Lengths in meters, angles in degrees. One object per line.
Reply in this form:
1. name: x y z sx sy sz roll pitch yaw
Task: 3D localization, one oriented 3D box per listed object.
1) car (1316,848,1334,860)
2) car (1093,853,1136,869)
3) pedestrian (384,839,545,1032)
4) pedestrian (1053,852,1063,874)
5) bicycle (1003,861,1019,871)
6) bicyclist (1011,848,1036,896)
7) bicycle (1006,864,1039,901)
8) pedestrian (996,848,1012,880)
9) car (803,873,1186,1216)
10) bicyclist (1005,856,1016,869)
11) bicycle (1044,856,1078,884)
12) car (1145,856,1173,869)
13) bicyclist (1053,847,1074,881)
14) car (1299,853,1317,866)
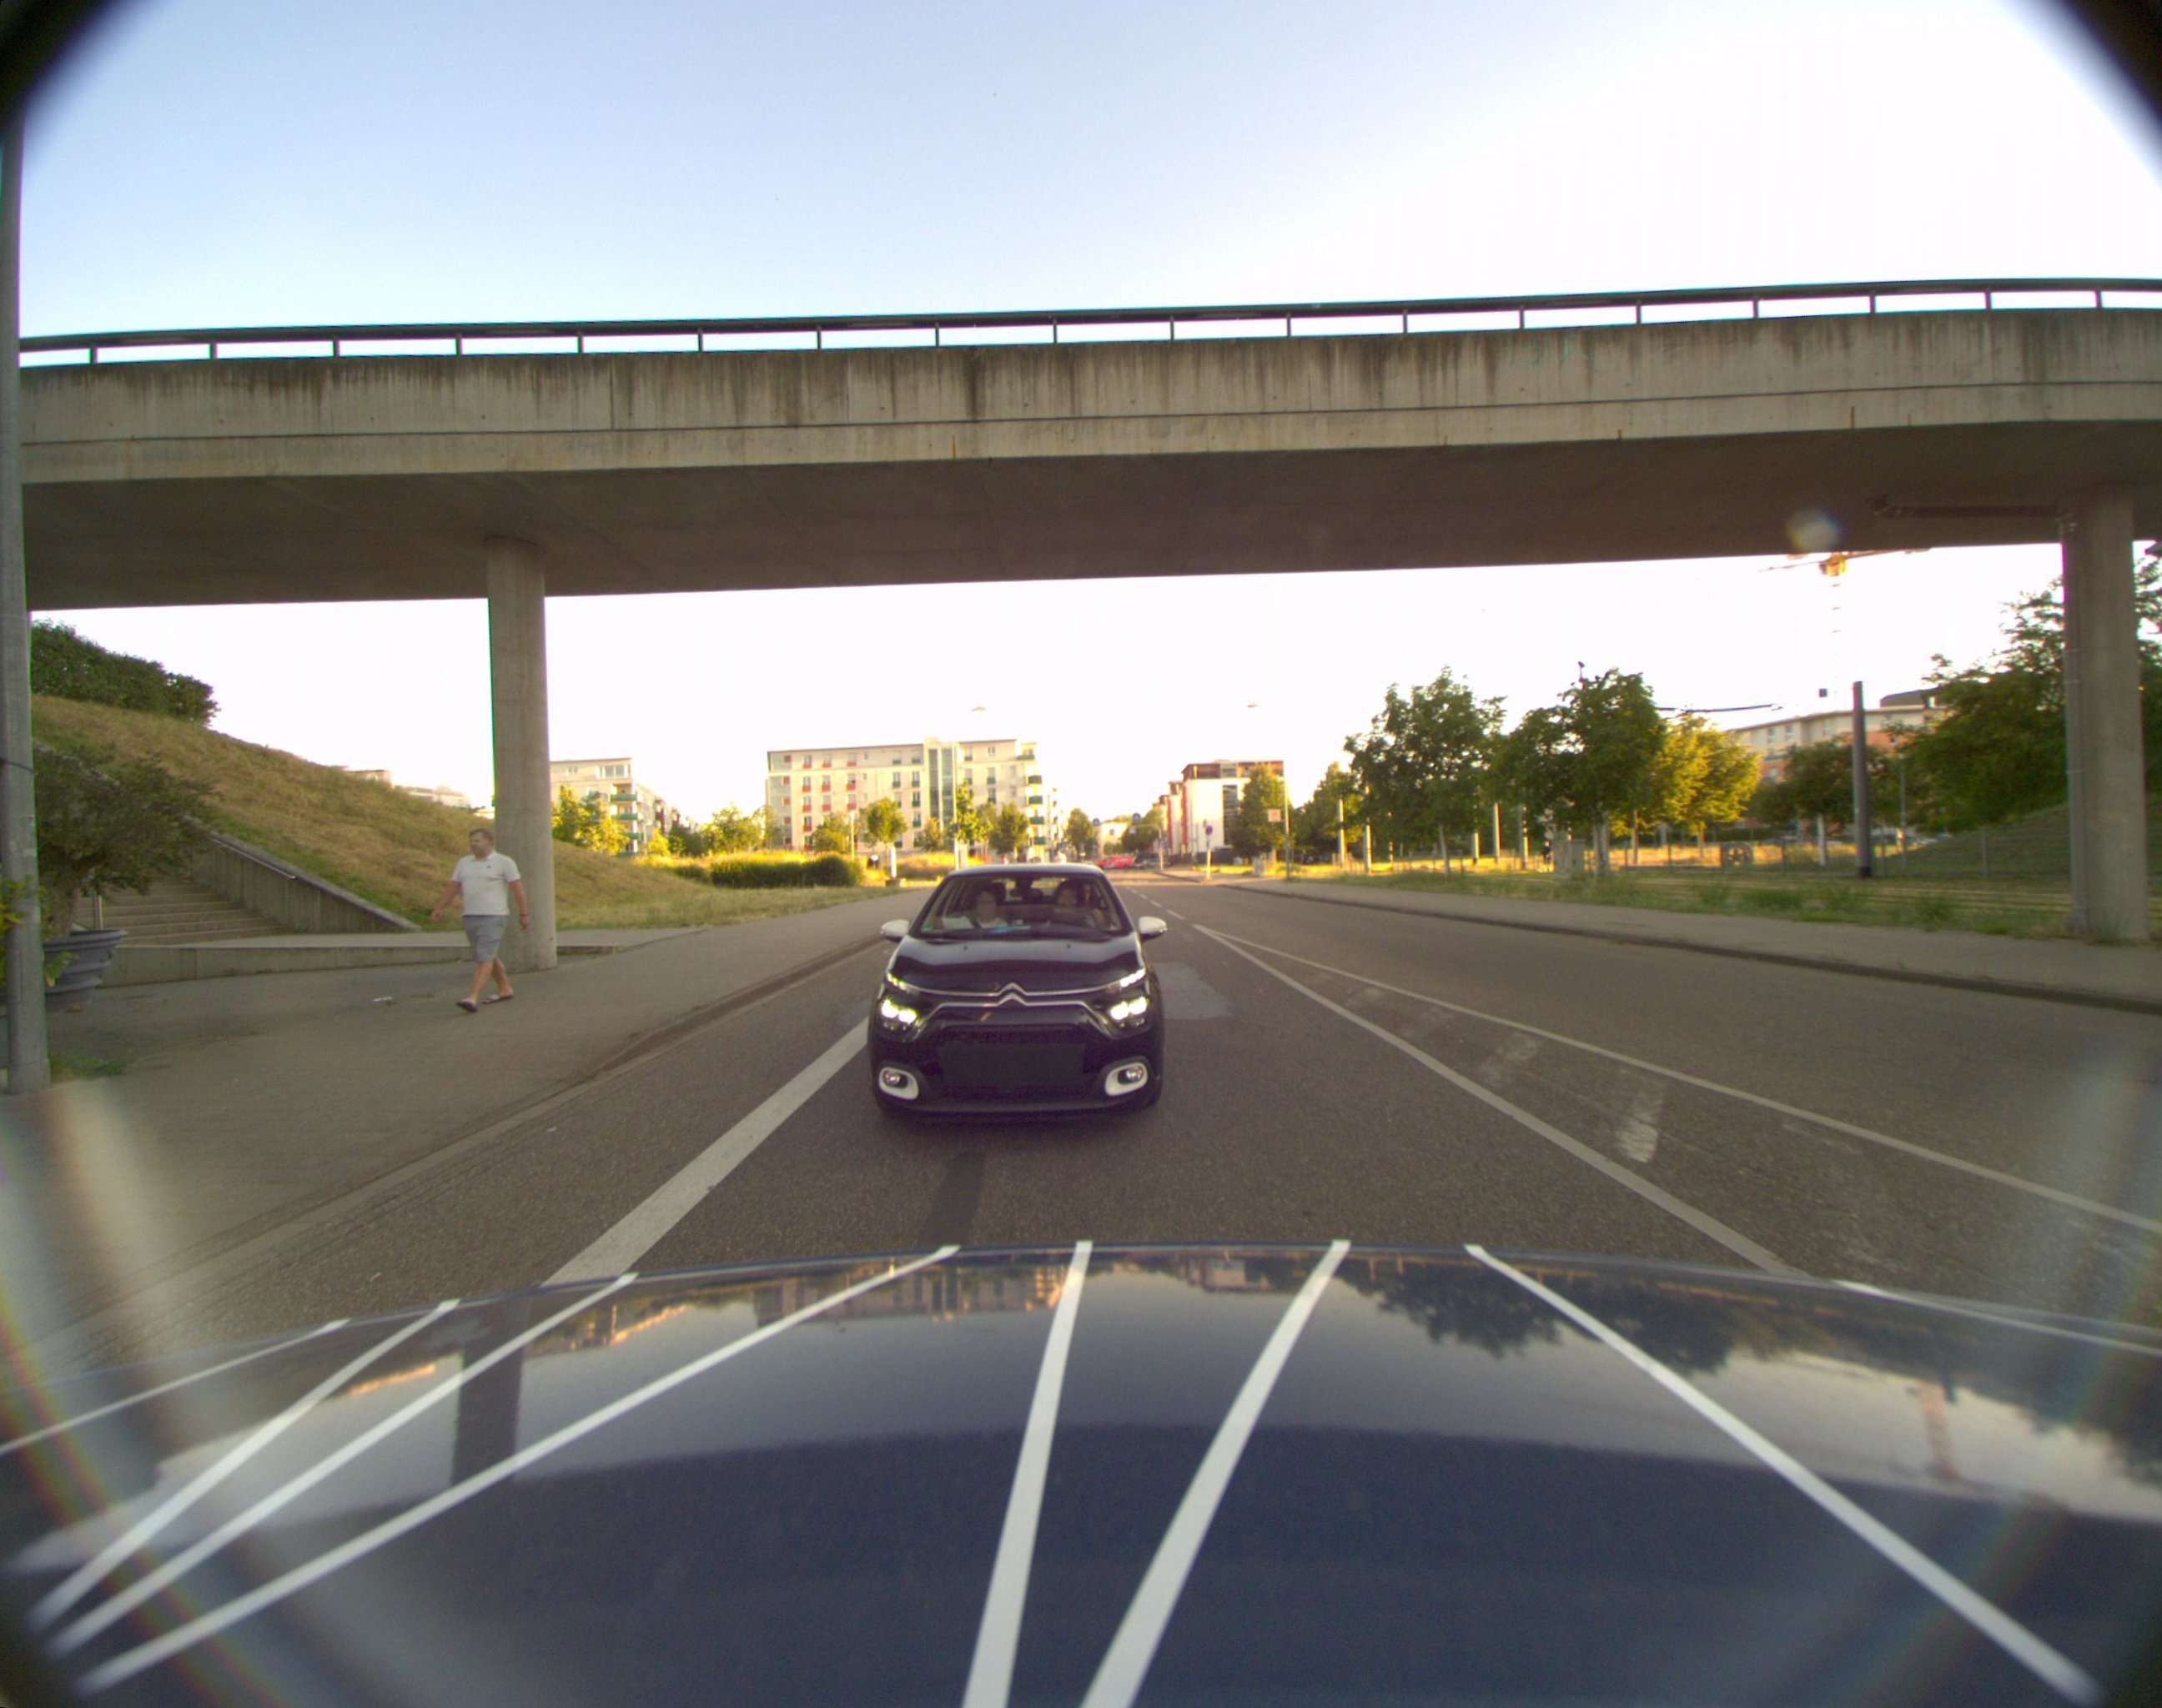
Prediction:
1. car: 31.055 -0.019 96.750 1.942 1.521 4.004 -2 0 14
2. car: 4.441 0.904 99.629 5.520 2.002 2.001 -2 0 5
3. pedestrian: -5.865 0.738 7.290 0.737 1.714 0.906 -2 0 1
4. pedestrian: -1.819 0.731 60.219 0.737 1.714 0.532 0 0 1
5. bicycle: -8.450 1.468 91.423 0.901 1.142 3.492 -2 0 -23
6. bicyclist: -2.025 0.631 26.822 0.697 1.630 0.852 -2 0 4
7. bicycle: -2.036 0.976 26.935 0.662 1.217 2.441 -2 0 7
8. pedestrian: -3.947 0.512 38.975 0.737 1.620 0.859 0 0 2
9. car: -0.369 0.943 5.546 1.739 1.455 4.000 -2 0 1
10. bicyclist: -8.423 1.021 91.033 0.934 1.585 1.065 -2 0 -25
11. bicycle: -1.087 0.866 43.291 0.886 1.483 3.325 -2 0 17
12. car: 11.727 1.233 113.825 3.996 1.718 2.000 -2 0 2
13. bicyclist: -1.001 0.561 43.468 0.882 1.865 1.035 -2 0 15
14. car: 29.047 0.694 97.198 1.942 1.521 4.004 -2 0 14
